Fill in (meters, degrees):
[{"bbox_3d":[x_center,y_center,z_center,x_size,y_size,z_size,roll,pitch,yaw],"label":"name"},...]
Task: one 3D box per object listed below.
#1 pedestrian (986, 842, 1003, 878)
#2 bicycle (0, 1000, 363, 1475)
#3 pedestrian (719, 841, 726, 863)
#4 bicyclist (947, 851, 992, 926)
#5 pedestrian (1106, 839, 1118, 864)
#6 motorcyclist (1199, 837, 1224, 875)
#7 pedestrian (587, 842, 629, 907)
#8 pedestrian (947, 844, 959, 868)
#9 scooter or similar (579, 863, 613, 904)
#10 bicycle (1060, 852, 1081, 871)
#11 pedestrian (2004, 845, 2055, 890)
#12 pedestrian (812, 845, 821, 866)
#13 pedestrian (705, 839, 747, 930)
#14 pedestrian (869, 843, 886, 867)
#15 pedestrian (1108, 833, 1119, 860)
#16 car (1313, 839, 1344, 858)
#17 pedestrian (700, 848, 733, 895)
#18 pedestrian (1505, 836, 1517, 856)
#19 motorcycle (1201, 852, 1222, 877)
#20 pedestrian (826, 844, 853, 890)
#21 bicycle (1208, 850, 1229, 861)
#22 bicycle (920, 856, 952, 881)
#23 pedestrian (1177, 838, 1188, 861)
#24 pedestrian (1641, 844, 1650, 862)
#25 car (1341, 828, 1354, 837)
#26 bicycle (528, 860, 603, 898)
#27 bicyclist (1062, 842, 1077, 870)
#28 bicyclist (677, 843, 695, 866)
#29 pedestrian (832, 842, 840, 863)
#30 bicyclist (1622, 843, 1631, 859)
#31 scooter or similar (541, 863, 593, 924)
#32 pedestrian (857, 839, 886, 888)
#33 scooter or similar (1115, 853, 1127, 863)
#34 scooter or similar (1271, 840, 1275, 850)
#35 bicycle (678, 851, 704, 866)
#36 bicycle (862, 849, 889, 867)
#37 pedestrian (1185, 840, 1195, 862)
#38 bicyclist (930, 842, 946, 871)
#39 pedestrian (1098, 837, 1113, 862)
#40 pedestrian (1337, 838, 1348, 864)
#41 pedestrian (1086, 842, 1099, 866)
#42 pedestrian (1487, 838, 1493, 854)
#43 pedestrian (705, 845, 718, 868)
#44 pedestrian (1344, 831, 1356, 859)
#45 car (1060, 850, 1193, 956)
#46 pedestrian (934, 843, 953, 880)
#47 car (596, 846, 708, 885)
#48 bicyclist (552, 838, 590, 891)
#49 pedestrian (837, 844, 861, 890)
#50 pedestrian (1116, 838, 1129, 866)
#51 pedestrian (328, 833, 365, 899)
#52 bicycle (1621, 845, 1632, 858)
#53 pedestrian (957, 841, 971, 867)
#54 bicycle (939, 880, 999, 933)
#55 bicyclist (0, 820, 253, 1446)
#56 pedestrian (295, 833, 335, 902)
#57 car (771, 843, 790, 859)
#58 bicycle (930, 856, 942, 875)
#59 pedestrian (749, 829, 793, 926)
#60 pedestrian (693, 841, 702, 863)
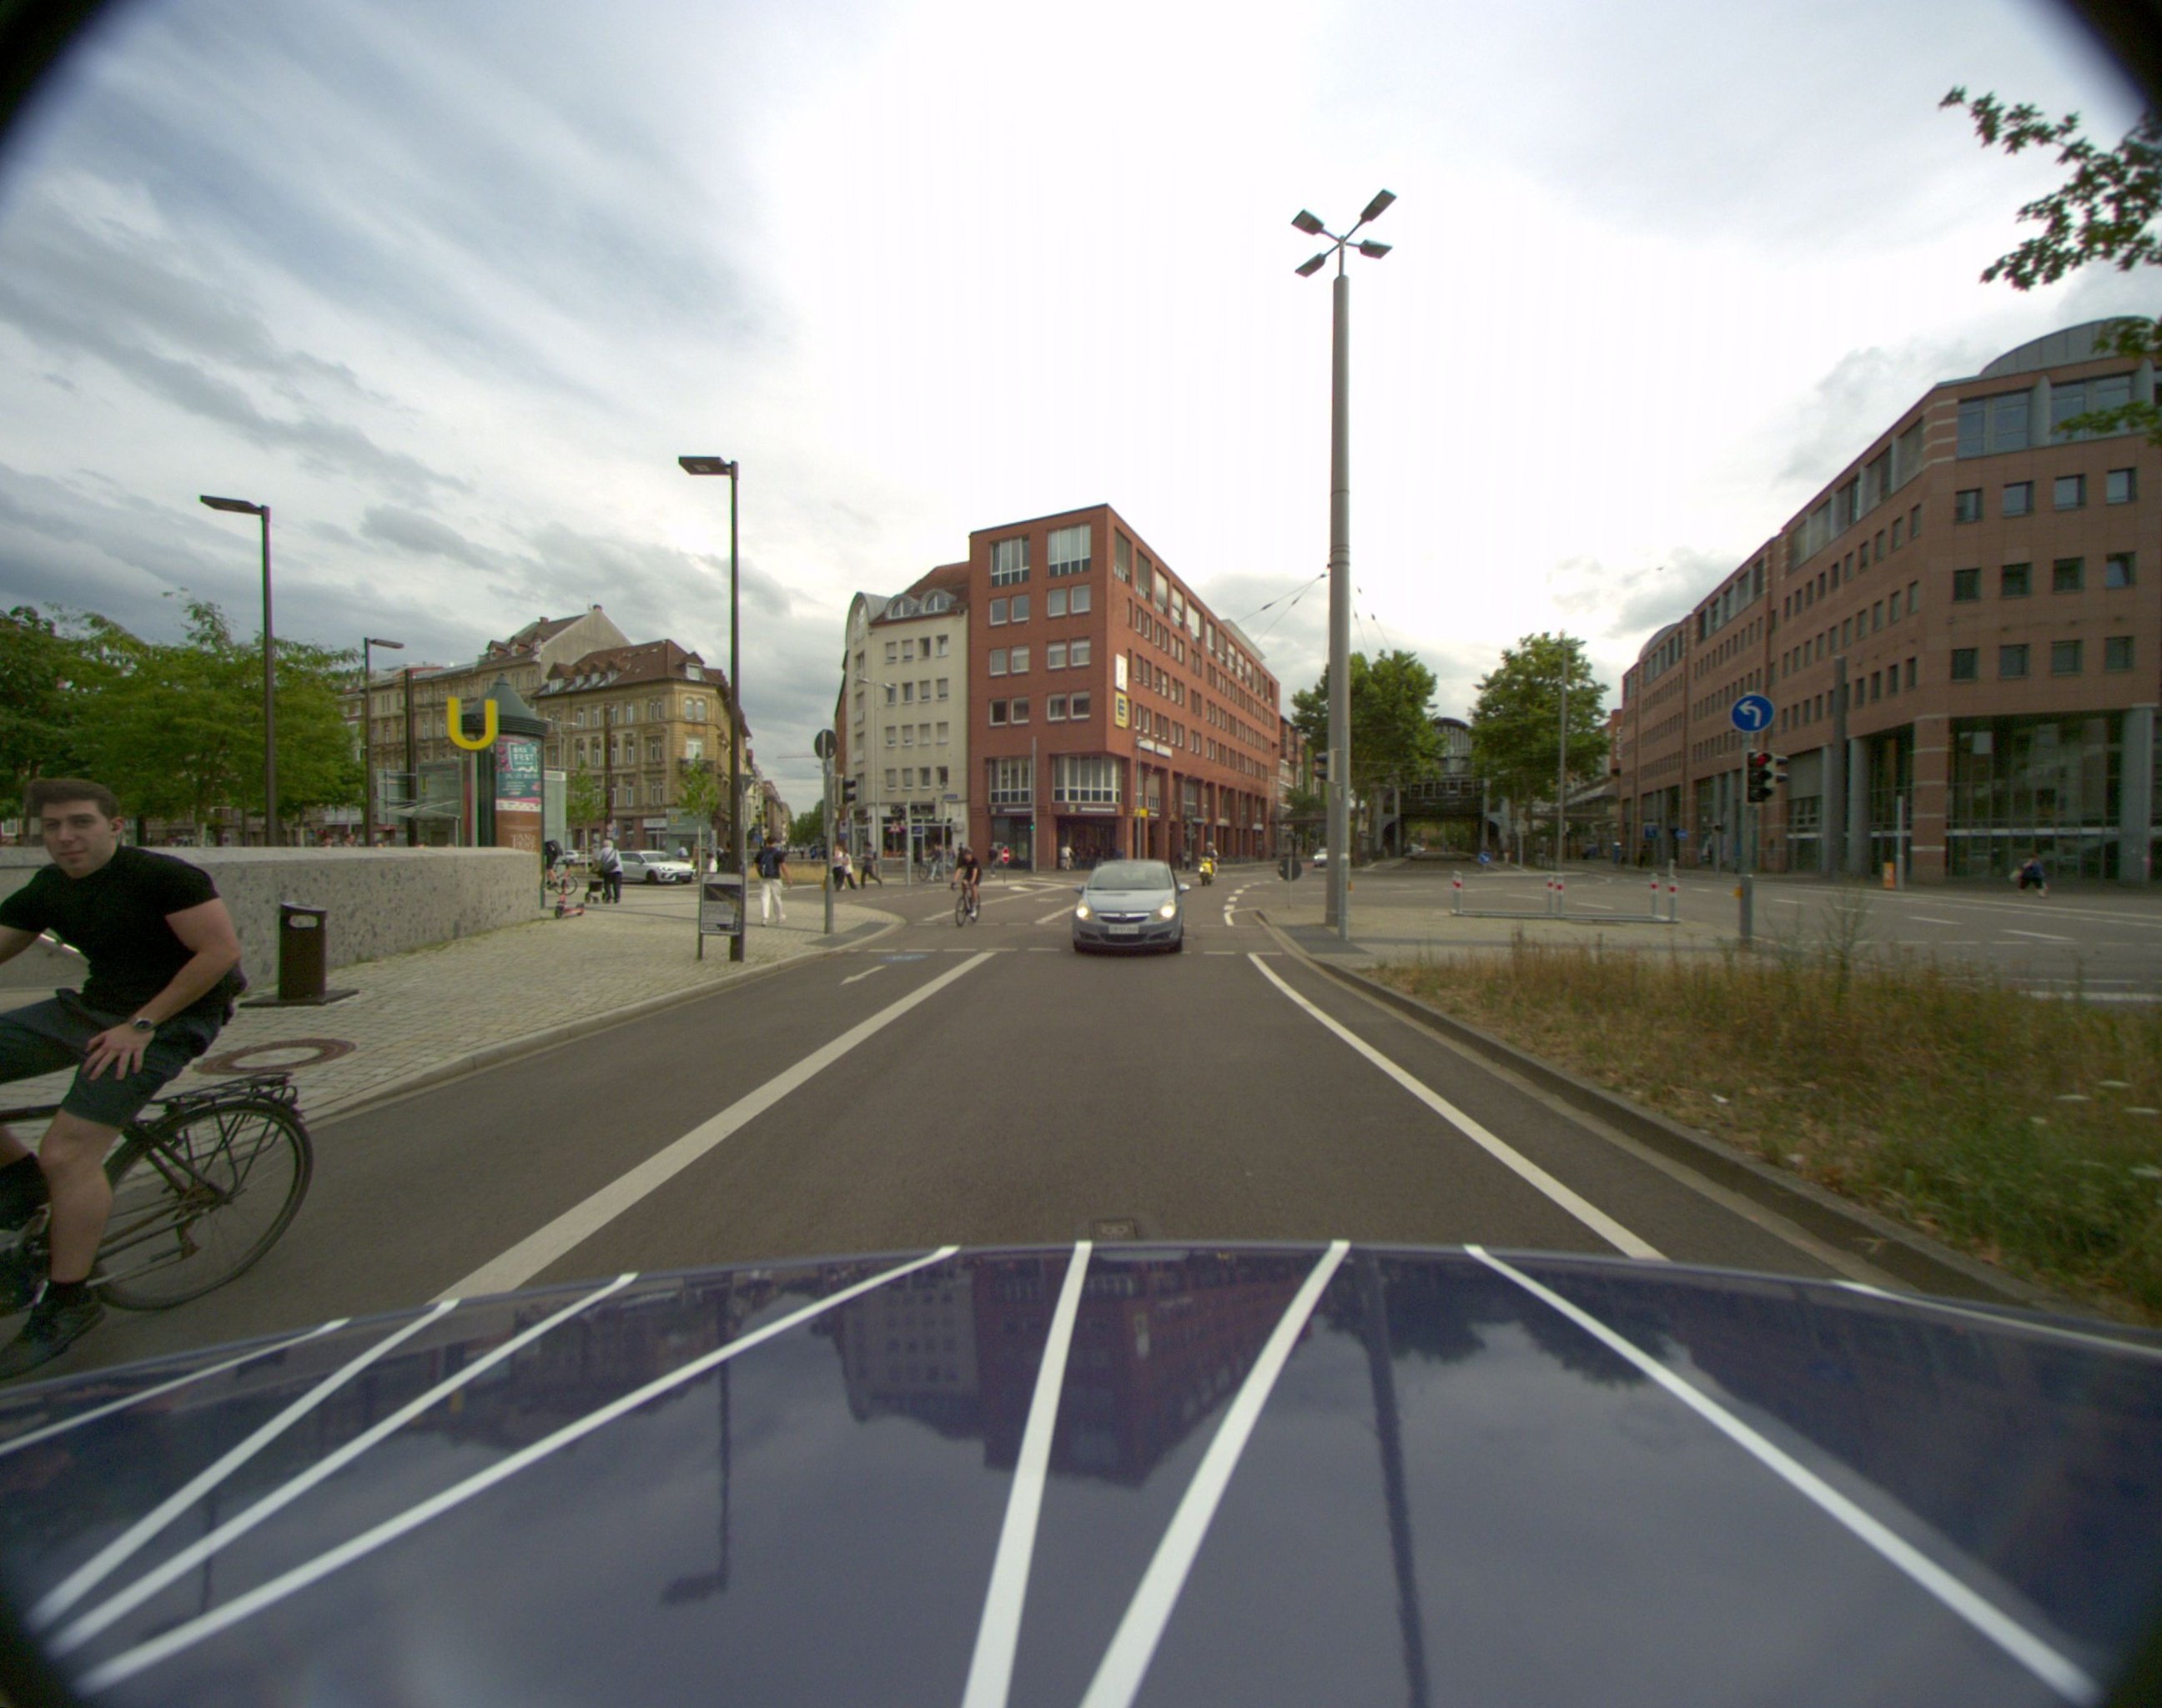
[{"bbox_3d":[-4.512,0.301,39.532,0.568,1.813,0.697,1,1,25],"label":"pedestrian"},{"bbox_3d":[-3.202,1.164,2.101,0.406,1.115,2.017,0,1,3],"label":"bicycle"},{"bbox_3d":[-27.989,-0.149,59.352,0.425,1.675,0.514,0,1,-31],"label":"pedestrian"},{"bbox_3d":[-2.435,0.728,16.674,0.612,1.594,0.848,0,1,20],"label":"bicyclist"},{"bbox_3d":[2.146,-0.173,52.931,0.647,1.679,0.652,1,3,25],"label":"pedestrian"},{"bbox_3d":[5.233,0.060,30.541,0.870,1.508,1.045,1,1,16],"label":"motorcyclist"},{"bbox_3d":[-12.957,0.536,20.808,0.935,1.730,0.687,2,2,39],"label":"pedestrian"},{"bbox_3d":[-8.049,0.145,47.720,0.594,1.502,0.628,0,1,-27],"label":"pedestrian"},{"bbox_3d":[-13.617,0.826,21.330,0.700,1.104,0.610,3,2,38],"label":"scooter or similar"},{"bbox_3d":[-0.672,0.449,47.735,0.390,1.116,2.080,4,2,25],"label":"bicycle"},{"bbox_3d":[31.404,0.437,25.165,0.797,1.464,0.686,1,1,26],"label":"pedestrian"},{"bbox_3d":[-22.102,0.100,63.466,0.592,1.713,0.518,-1,2,-29],"label":"pedestrian"},{"bbox_3d":[-7.263,0.615,15.533,0.677,1.789,0.884,3,0,-26],"label":"pedestrian"},{"bbox_3d":[-13.897,0.036,51.869,0.791,1.618,0.719,1,1,29],"label":"pedestrian"},{"bbox_3d":[2.197,-0.521,51.118,0.541,1.787,0.562,1,1,25],"label":"pedestrian"},{"bbox_3d":[21.793,-0.519,66.833,1.953,1.592,4.007,1,1,26],"label":"car"},{"bbox_3d":[-12.012,0.575,25.042,0.552,1.493,0.847,1,3,10],"label":"pedestrian"},{"bbox_3d":[32.598,-0.607,57.600,0.657,1.529,0.559,1,3,21],"label":"pedestrian"},{"bbox_3d":[5.253,0.414,30.487,0.569,0.962,2.016,1,1,17],"label":"motorcycle"},{"bbox_3d":[-9.078,0.484,28.591,0.633,1.685,0.708,1,1,33],"label":"pedestrian"},{"bbox_3d":[12.647,0.135,69.946,1.855,1.034,0.508,1,1,26],"label":"bicycle"},{"bbox_3d":[-6.593,0.639,34.684,0.397,1.104,1.833,1,1,26],"label":"bicycle"},{"bbox_3d":[7.529,-0.350,56.320,0.646,1.687,0.699,3,3,23],"label":"pedestrian"},{"bbox_3d":[49.819,-0.120,67.054,0.528,1.565,0.602,1,2,26],"label":"pedestrian"},{"bbox_3d":[52.911,-4.284,151.061,1.953,1.592,4.007,1,1,26],"label":"car"},{"bbox_3d":[-16.824,0.814,24.836,1.922,1.116,0.390,-3,4,-22],"label":"bicycle"},{"bbox_3d":[-0.716,0.109,47.563,0.641,1.699,0.864,1,1,25],"label":"bicyclist"},{"bbox_3d":[-27.821,0.033,53.509,0.861,1.594,0.643,1,1,18],"label":"bicyclist"},{"bbox_3d":[-20.682,-0.141,64.078,0.542,1.713,0.518,-1,2,-31],"label":"pedestrian"},{"bbox_3d":[48.851,-0.270,68.047,0.550,1.373,0.739,1,2,26],"label":"bicyclist"},{"bbox_3d":[-10.809,0.809,16.000,0.286,1.205,1.126,0,1,2],"label":"scooter or similar"},{"bbox_3d":[-8.016,0.369,29.079,0.639,1.844,0.878,1,1,25],"label":"pedestrian"},{"bbox_3d":[2.380,0.258,45.527,0.507,0.570,0.817,1,1,18],"label":"scooter or similar"},{"bbox_3d":[22.922,-1.085,90.566,0.272,1.250,0.923,1,1,26],"label":"scooter or similar"},{"bbox_3d":[-27.506,0.306,53.556,1.915,1.081,0.392,1,1,19],"label":"bicycle"},{"bbox_3d":[-14.349,0.278,53.050,1.803,1.197,0.544,1,1,16],"label":"bicycle"},{"bbox_3d":[8.326,-0.225,57.972,0.406,1.623,0.733,3,3,33],"label":"pedestrian"},{"bbox_3d":[-7.582,0.120,40.259,0.746,1.550,0.945,0,1,-13],"label":"bicyclist"},{"bbox_3d":[1.715,-0.328,53.583,0.647,1.704,1.058,1,2,25],"label":"pedestrian"},{"bbox_3d":[18.384,-0.217,53.389,0.578,1.781,0.534,-1,2,-44],"label":"pedestrian"},{"bbox_3d":[0.751,-0.007,51.388,0.541,1.642,0.894,1,1,25],"label":"pedestrian"},{"bbox_3d":[43.826,-0.868,81.399,0.481,1.761,0.482,1,2,18],"label":"pedestrian"},{"bbox_3d":[-27.173,0.162,55.903,0.606,1.676,0.731,-5,5,-41],"label":"pedestrian"},{"bbox_3d":[18.053,-0.598,50.973,0.692,1.864,0.808,1,1,26],"label":"pedestrian"},{"bbox_3d":[0.932,0.706,12.796,1.722,1.395,4.002,-2,1,11],"label":"car"},{"bbox_3d":[-6.217,0.332,34.379,0.520,1.676,0.727,1,1,26],"label":"pedestrian"},{"bbox_3d":[-18.721,0.454,33.149,4.591,1.503,2.003,1,3,26],"label":"car"},{"bbox_3d":[-16.730,0.325,24.938,0.909,1.699,0.698,0,1,-23],"label":"bicyclist"},{"bbox_3d":[-8.574,0.482,28.103,0.469,1.676,0.797,1,2,21],"label":"pedestrian"},{"bbox_3d":[2.522,-0.148,46.246,0.639,1.678,0.601,1,1,25],"label":"pedestrian"},{"bbox_3d":[-20.968,0.337,21.691,0.489,1.856,0.585,1,0,21],"label":"pedestrian"},{"bbox_3d":[48.926,-0.233,68.197,0.546,1.111,1.592,1,1,26],"label":"bicycle"},{"bbox_3d":[-7.407,0.014,47.971,0.708,1.638,0.720,0,1,-27],"label":"pedestrian"},{"bbox_3d":[-2.431,1.124,16.680,0.488,0.995,1.750,0,2,20],"label":"bicycle"},{"bbox_3d":[-3.205,0.753,2.236,0.560,1.699,0.862,0,1,1],"label":"bicyclist"},{"bbox_3d":[-21.096,0.359,20.922,0.547,1.856,0.585,1,0,21],"label":"pedestrian"},{"bbox_3d":[-29.211,-0.312,73.950,1.697,1.577,3.653,0,1,-21],"label":"car"},{"bbox_3d":[-7.724,0.601,40.387,0.543,0.945,1.805,0,1,-14],"label":"bicycle"},{"bbox_3d":[-6.486,0.481,15.881,0.722,1.960,1.012,3,0,-25],"label":"pedestrian"},{"bbox_3d":[-28.991,-0.147,57.442,0.423,1.675,0.516,1,1,27],"label":"pedestrian"}]
